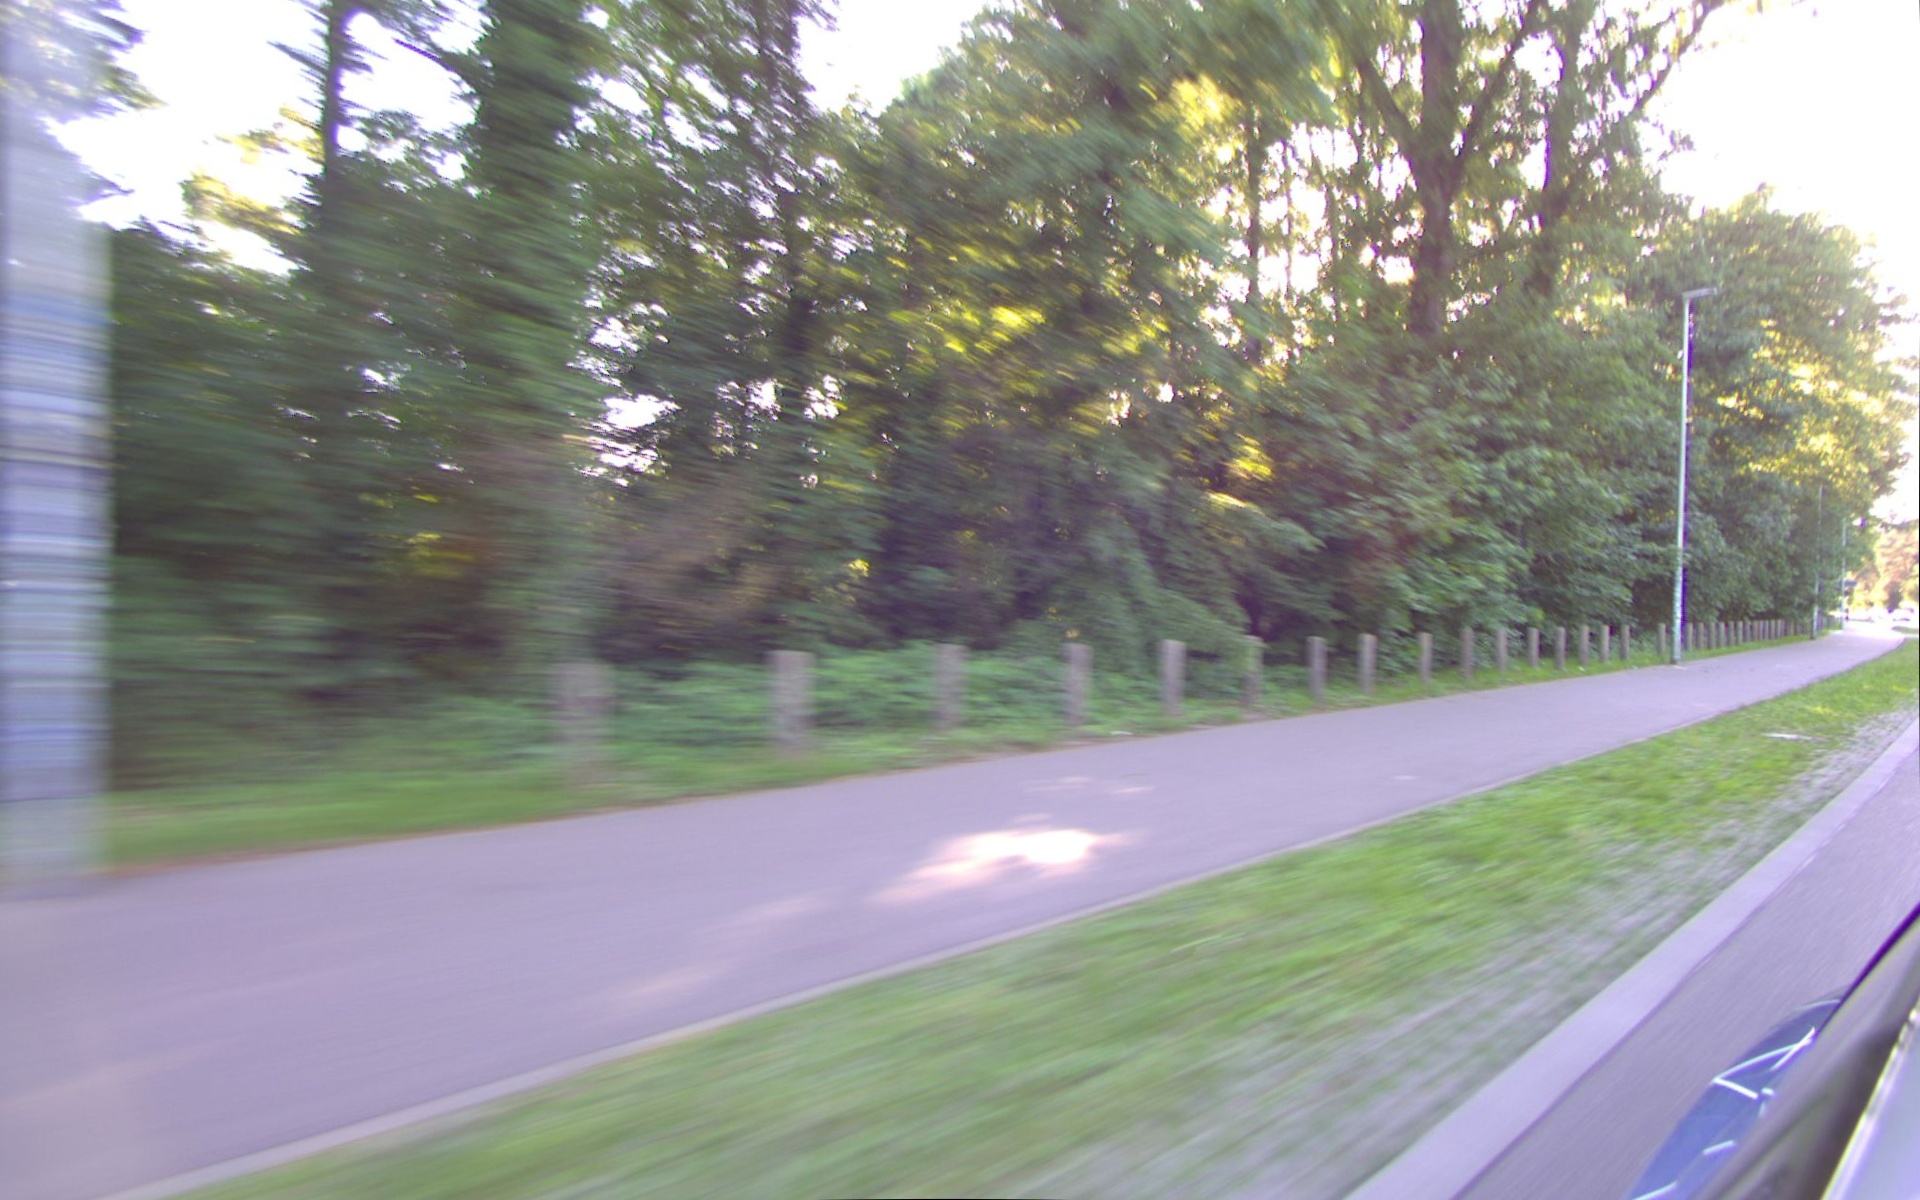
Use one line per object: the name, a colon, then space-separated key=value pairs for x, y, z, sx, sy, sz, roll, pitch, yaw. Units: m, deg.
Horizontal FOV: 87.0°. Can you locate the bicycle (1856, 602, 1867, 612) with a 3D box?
bicycle: x=102.398 y=0.776 z=114.928 sx=0.605 sy=1.070 sz=2.838 roll=1 pitch=0 yaw=35
